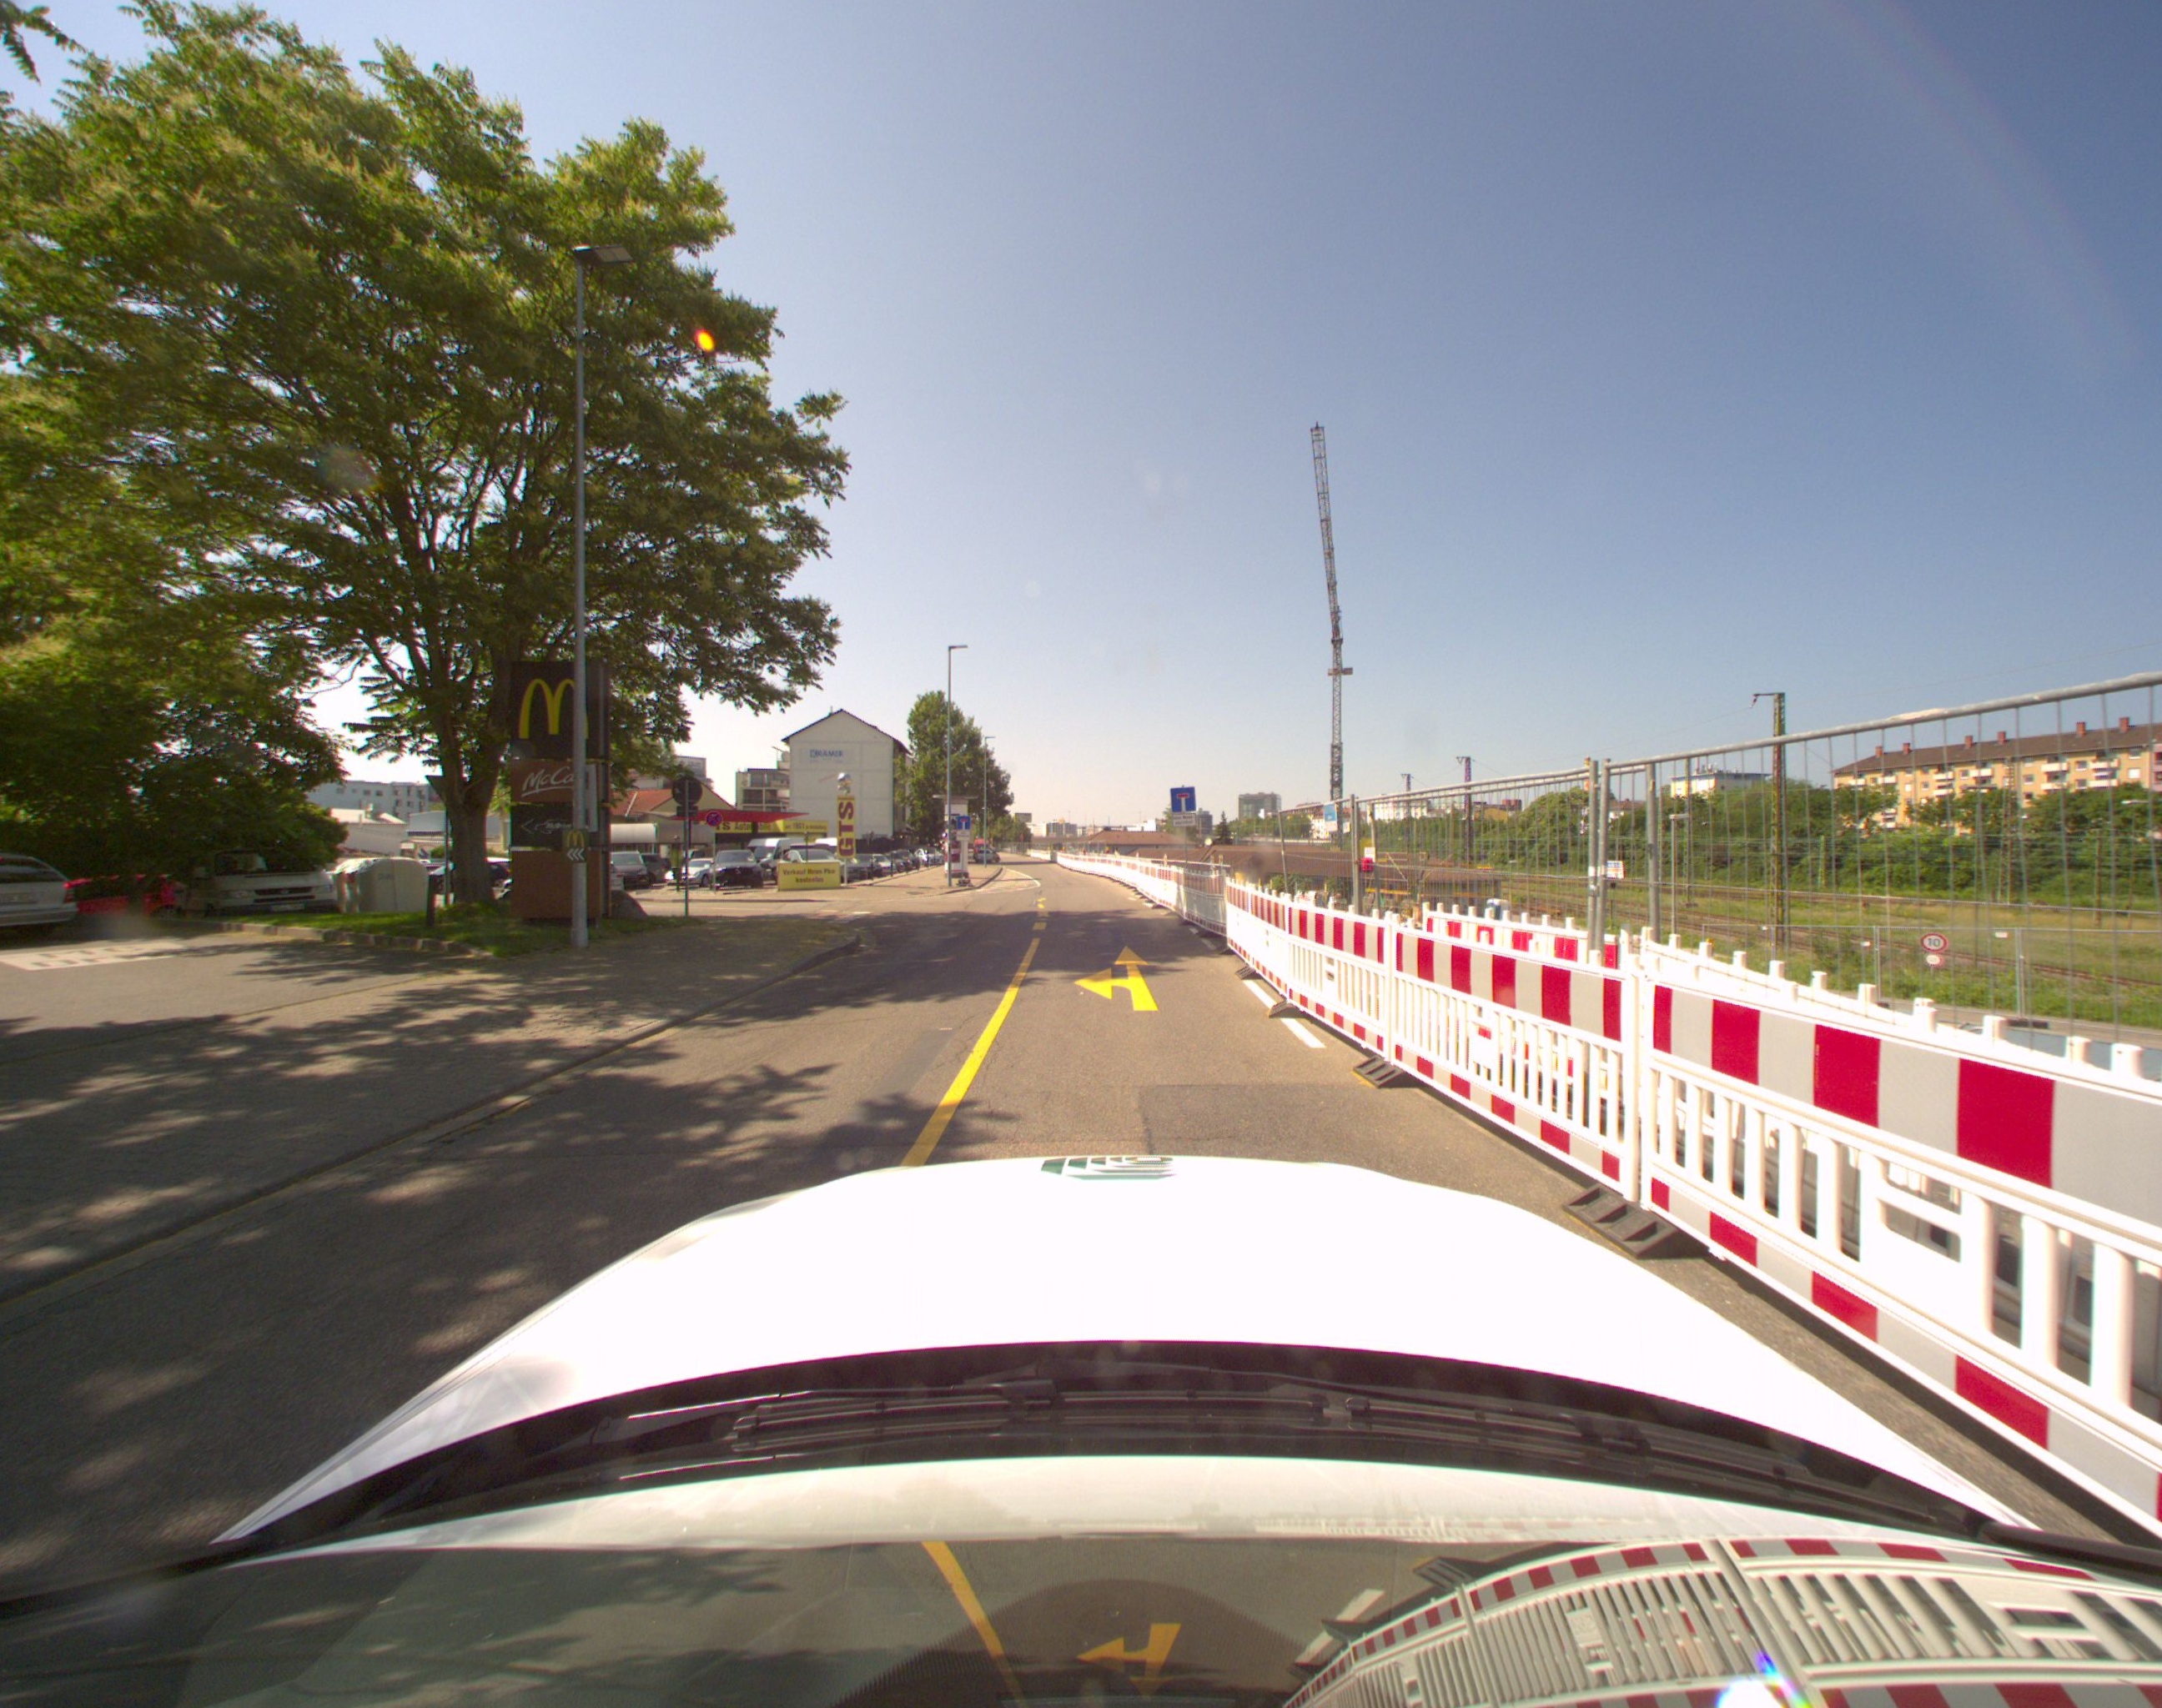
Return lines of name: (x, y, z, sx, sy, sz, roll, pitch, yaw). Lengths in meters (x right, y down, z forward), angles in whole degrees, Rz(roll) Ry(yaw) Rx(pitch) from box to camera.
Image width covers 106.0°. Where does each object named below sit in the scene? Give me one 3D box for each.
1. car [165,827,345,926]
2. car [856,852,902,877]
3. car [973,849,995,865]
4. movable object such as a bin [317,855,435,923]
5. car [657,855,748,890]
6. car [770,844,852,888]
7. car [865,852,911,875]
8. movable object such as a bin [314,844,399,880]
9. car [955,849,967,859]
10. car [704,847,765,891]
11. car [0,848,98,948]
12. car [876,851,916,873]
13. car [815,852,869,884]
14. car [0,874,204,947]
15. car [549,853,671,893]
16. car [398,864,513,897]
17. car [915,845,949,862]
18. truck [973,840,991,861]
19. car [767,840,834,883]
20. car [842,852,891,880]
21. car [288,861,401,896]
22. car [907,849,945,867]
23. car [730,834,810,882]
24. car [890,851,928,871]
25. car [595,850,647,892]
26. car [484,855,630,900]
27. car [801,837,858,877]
car: (-18.475, 0.535, 18.163, 4.466, 1.920, 1.905, -4, 1, 34)
car: (-13.119, 0.675, 52.773, 1.791, 1.473, 3.961, -4, 1, -30)
car: (-10.141, 0.278, 85.381, 1.864, 1.498, 4.029, -1, 1, -2)
movable object such as a bin: (-17.557, 0.855, 20.306, 1.755, 1.526, 1.463, -2, 2, 20)
car: (-19.260, 0.901, 41.677, 1.897, 1.574, 4.698, -1, 1, 8)
car: (-12.348, 0.569, 37.045, 1.992, 1.707, 4.609, -2, -2, -39)
car: (-13.519, 0.658, 56.878, 1.680, 1.473, 3.956, -3, 1, -35)
movable object such as a bin: (-59.984, 0.630, 67.545, 1.975, 2.906, 4.863, -1, 0, 27)
car: (-23.716, 0.073, 161.075, 1.932, 1.834, 3.920, 3, -1, -2)
car: (-14.849, 0.670, 34.767, 2.054, 1.707, 4.276, -1, -1, -27)
car: (-18.053, 0.620, 12.605, 4.344, 1.403, 1.720, 2, 2, 11)
car: (-13.980, 0.606, 61.443, 1.679, 1.473, 3.959, -3, 1, -33)
car: (-12.306, 0.719, 41.774, 1.847, 1.473, 3.963, -3, 1, -28)
car: (-25.627, 1.397, 21.173, 1.672, 1.465, 3.428, -1, 3, 28)
car: (-23.582, 0.912, 40.893, 4.919, 1.842, 2.137, -1, 0, -43)
car: (-31.212, 1.287, 40.759, 1.848, 1.489, 4.155, -1, 0, 22)
car: (-17.710, -0.112, 96.709, 3.926, 1.958, 1.752, 1, 0, -13)
truck: (-12.644, -0.387, 104.635, 2.235, 2.648, 5.669, 0, 0, -6)
car: (-16.393, 0.465, 47.846, 2.239, 2.350, 4.822, -1, -1, 0)
car: (-12.484, 0.685, 47.327, 1.847, 1.473, 3.964, -3, 1, -28)
car: (-40.670, 1.331, 45.074, 1.869, 1.750, 4.194, -1, 0, 22)
car: (-13.251, 0.343, 69.652, 1.789, 1.473, 3.959, -3, 1, -33)
car: (-19.087, 0.251, 50.393, 2.267, 2.758, 6.156, -1, 0, 3)
car: (-13.969, 0.548, 66.036, 1.679, 1.473, 3.959, -4, 1, -33)
car: (-20.047, 0.688, 35.520, 1.816, 1.656, 4.274, -2, 1, -30)
car: (-18.530, 0.813, 28.828, 4.556, 1.493, 1.690, -1, 0, 15)
car: (-16.630, 0.219, 54.189, 2.241, 2.430, 5.711, 3, -1, -4)
